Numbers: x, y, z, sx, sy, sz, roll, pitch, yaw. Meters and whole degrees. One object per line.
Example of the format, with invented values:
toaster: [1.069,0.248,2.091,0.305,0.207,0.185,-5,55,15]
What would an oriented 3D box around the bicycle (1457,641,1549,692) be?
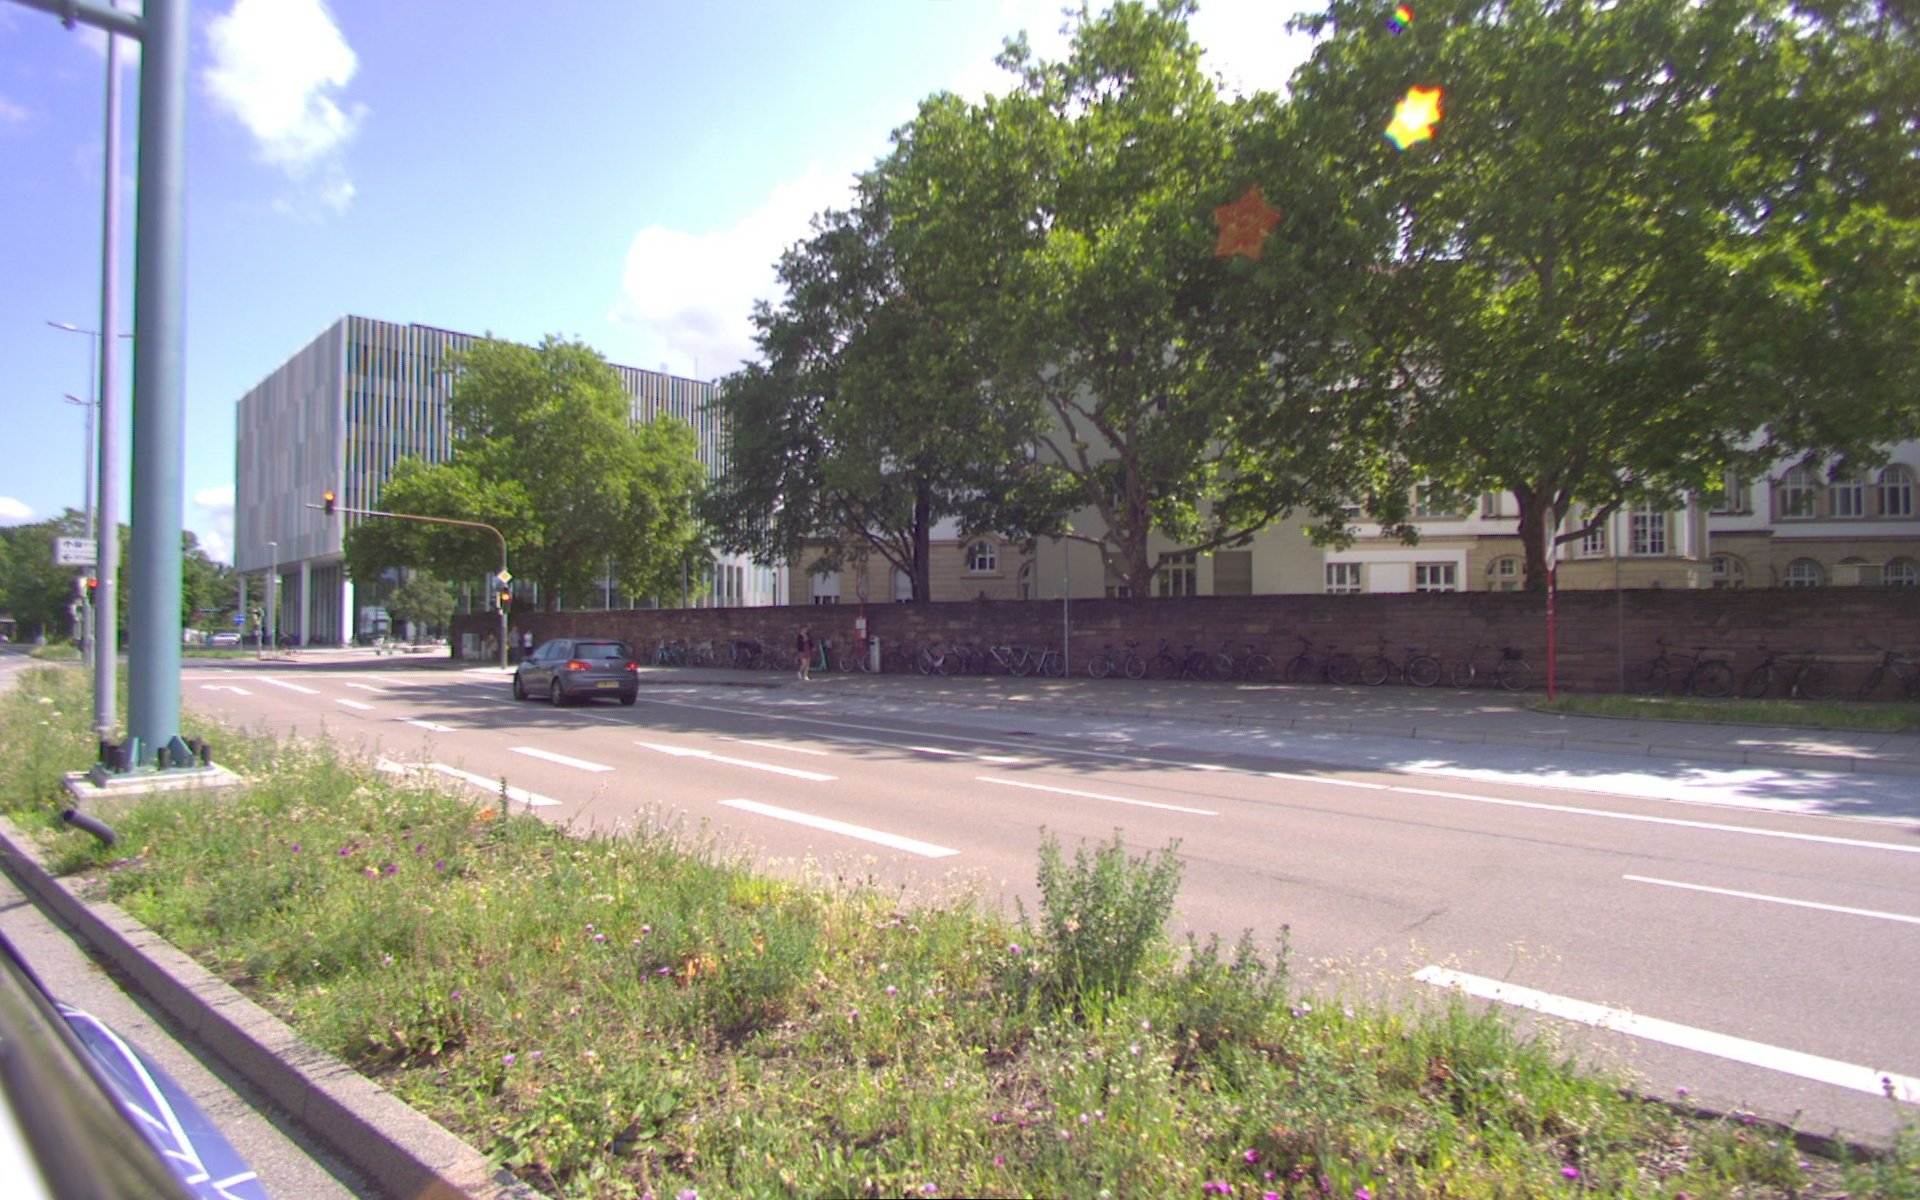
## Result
bicycle: [11.935,1.453,22.314,1.747,1.081,0.579,-1,-2,27]

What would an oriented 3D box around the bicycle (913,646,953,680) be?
bicycle: [-0.814,1.859,29.978,0.361,0.962,1.629,1,-2,-33]

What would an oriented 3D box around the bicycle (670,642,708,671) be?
bicycle: [-10.332,2.148,38.560,1.879,1.056,0.366,-2,-3,39]

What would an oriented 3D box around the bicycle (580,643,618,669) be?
bicycle: [-15.155,2.328,42.443,1.879,1.056,0.623,-2,-3,39]

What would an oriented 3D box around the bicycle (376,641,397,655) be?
bicycle: [-48.258,4.030,85.183,0.711,1.105,2.221,0,-2,-5]

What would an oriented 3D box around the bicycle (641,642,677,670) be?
bicycle: [-11.845,2.194,39.776,1.879,1.056,0.366,-2,-3,39]

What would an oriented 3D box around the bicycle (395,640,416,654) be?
bicycle: [-46.367,3.920,84.642,0.711,1.105,2.221,0,-2,-5]

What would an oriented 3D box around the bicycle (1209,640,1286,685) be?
bicycle: [7.163,1.538,25.251,1.750,1.081,0.578,-2,-2,32]

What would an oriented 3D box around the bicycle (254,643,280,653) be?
bicycle: [-74.466,5.153,108.784,0.722,1.105,2.188,-2,-3,40]

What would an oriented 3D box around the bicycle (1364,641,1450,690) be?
bicycle: [10.213,1.493,23.140,1.747,1.081,0.579,-1,-2,27]

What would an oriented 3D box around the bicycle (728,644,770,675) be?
bicycle: [-7.441,2.086,35.684,1.879,1.056,0.369,-2,-3,39]

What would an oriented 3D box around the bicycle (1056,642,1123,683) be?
bicycle: [3.533,1.685,27.632,1.750,1.081,0.577,-2,-2,33]

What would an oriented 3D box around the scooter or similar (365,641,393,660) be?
scooter or similar: [-35.970,3.139,62.649,0.500,1.166,1.492,-1,-2,20]

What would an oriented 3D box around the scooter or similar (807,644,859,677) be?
scooter or similar: [-4.202,1.982,33.490,1.879,1.056,0.574,-2,-3,39]

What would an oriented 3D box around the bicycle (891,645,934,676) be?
bicycle: [-1.475,1.873,31.436,1.398,0.962,0.363,-2,-2,33]

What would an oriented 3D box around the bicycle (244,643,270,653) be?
bicycle: [-77.044,5.272,110.874,0.722,1.098,2.188,-2,-3,40]

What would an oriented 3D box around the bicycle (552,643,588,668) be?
bicycle: [-16.983,2.409,44.056,1.879,1.056,0.623,-2,-3,39]

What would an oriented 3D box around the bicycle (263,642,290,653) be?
bicycle: [-70.550,4.922,104.397,0.722,1.105,2.188,-2,-3,40]

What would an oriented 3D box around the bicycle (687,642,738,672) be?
bicycle: [-9.078,2.081,37.151,1.869,1.056,0.589,-1,-2,24]

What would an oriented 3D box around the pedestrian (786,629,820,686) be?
pedestrian: [-4.595,1.666,29.677,0.744,1.622,0.649,-2,-2,40]

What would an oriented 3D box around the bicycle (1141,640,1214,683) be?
bicycle: [5.630,1.582,26.263,1.750,1.081,0.577,-2,-2,33]

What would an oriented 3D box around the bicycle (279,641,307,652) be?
bicycle: [-66.035,4.590,100.210,0.722,1.105,2.188,-2,-3,40]

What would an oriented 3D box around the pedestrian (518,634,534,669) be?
pedestrian: [-19.739,2.328,46.011,0.616,1.551,0.471,-2,-3,43]

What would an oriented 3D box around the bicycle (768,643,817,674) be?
bicycle: [-5.744,1.991,34.709,1.879,1.056,0.574,-2,-3,39]

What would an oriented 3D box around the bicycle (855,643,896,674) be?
bicycle: [-2.702,1.872,32.355,1.398,0.962,0.363,-2,-2,33]

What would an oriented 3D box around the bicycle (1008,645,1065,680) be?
bicycle: [2.155,1.768,28.718,1.622,0.962,0.367,-2,-2,33]

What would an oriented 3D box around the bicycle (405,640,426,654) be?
bicycle: [-45.581,3.918,84.719,0.711,1.105,2.221,0,-2,-5]

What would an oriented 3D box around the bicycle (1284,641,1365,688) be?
bicycle: [8.710,1.523,24.178,1.747,1.081,0.579,-1,-2,27]

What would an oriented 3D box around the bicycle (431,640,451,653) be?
bicycle: [-43.193,3.874,84.298,0.711,1.105,2.221,0,-2,-5]

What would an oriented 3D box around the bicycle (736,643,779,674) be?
bicycle: [-7.204,2.066,36.006,1.879,1.056,0.390,-2,-3,39]

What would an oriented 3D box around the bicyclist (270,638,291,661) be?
bicyclist: [-43.835,3.183,65.310,0.931,1.475,0.633,0,-2,-10]

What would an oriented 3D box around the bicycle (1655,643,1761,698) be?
bicycle: [15.170,1.415,20.567,1.623,1.081,0.579,-1,-2,27]

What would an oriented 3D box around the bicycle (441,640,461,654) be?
bicycle: [-42.318,3.874,84.108,0.711,1.105,2.221,0,-2,-5]

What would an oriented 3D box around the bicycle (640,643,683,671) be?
bicycle: [-11.405,2.162,38.645,1.879,1.056,0.586,-2,-3,39]

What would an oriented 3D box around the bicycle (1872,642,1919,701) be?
bicycle: [18.286,1.338,18.976,1.623,1.081,0.579,-1,-2,27]

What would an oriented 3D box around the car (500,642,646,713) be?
car: [-8.826,1.687,22.915,1.679,1.456,4.151,3,-4,-42]

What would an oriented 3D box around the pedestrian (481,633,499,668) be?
pedestrian: [-22.299,2.385,47.996,0.727,1.664,0.554,-2,-3,43]

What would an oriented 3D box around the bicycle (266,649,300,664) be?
bicycle: [-43.719,3.653,65.360,1.747,0.899,0.639,0,-2,-10]

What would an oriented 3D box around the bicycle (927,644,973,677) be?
bicycle: [-0.306,1.820,30.577,1.398,0.962,0.363,-2,-2,33]

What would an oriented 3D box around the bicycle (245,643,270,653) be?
bicycle: [-76.526,5.244,110.249,0.722,1.105,2.188,-2,-3,40]

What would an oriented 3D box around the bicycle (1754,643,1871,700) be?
bicycle: [16.637,1.385,19.794,1.623,1.081,0.579,-1,-2,27]

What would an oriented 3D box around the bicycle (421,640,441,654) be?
bicycle: [-44.023,3.889,84.289,0.711,1.105,2.221,0,-2,-5]

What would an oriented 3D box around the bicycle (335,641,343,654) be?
bicycle: [-52.312,4.021,85.279,0.539,1.105,1.638,1,-3,-33]

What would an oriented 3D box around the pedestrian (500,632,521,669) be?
pedestrian: [-20.145,2.247,45.347,0.731,1.664,0.634,-2,-3,43]

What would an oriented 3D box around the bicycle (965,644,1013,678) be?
bicycle: [0.846,1.791,29.716,1.398,0.962,0.363,-2,-2,33]
